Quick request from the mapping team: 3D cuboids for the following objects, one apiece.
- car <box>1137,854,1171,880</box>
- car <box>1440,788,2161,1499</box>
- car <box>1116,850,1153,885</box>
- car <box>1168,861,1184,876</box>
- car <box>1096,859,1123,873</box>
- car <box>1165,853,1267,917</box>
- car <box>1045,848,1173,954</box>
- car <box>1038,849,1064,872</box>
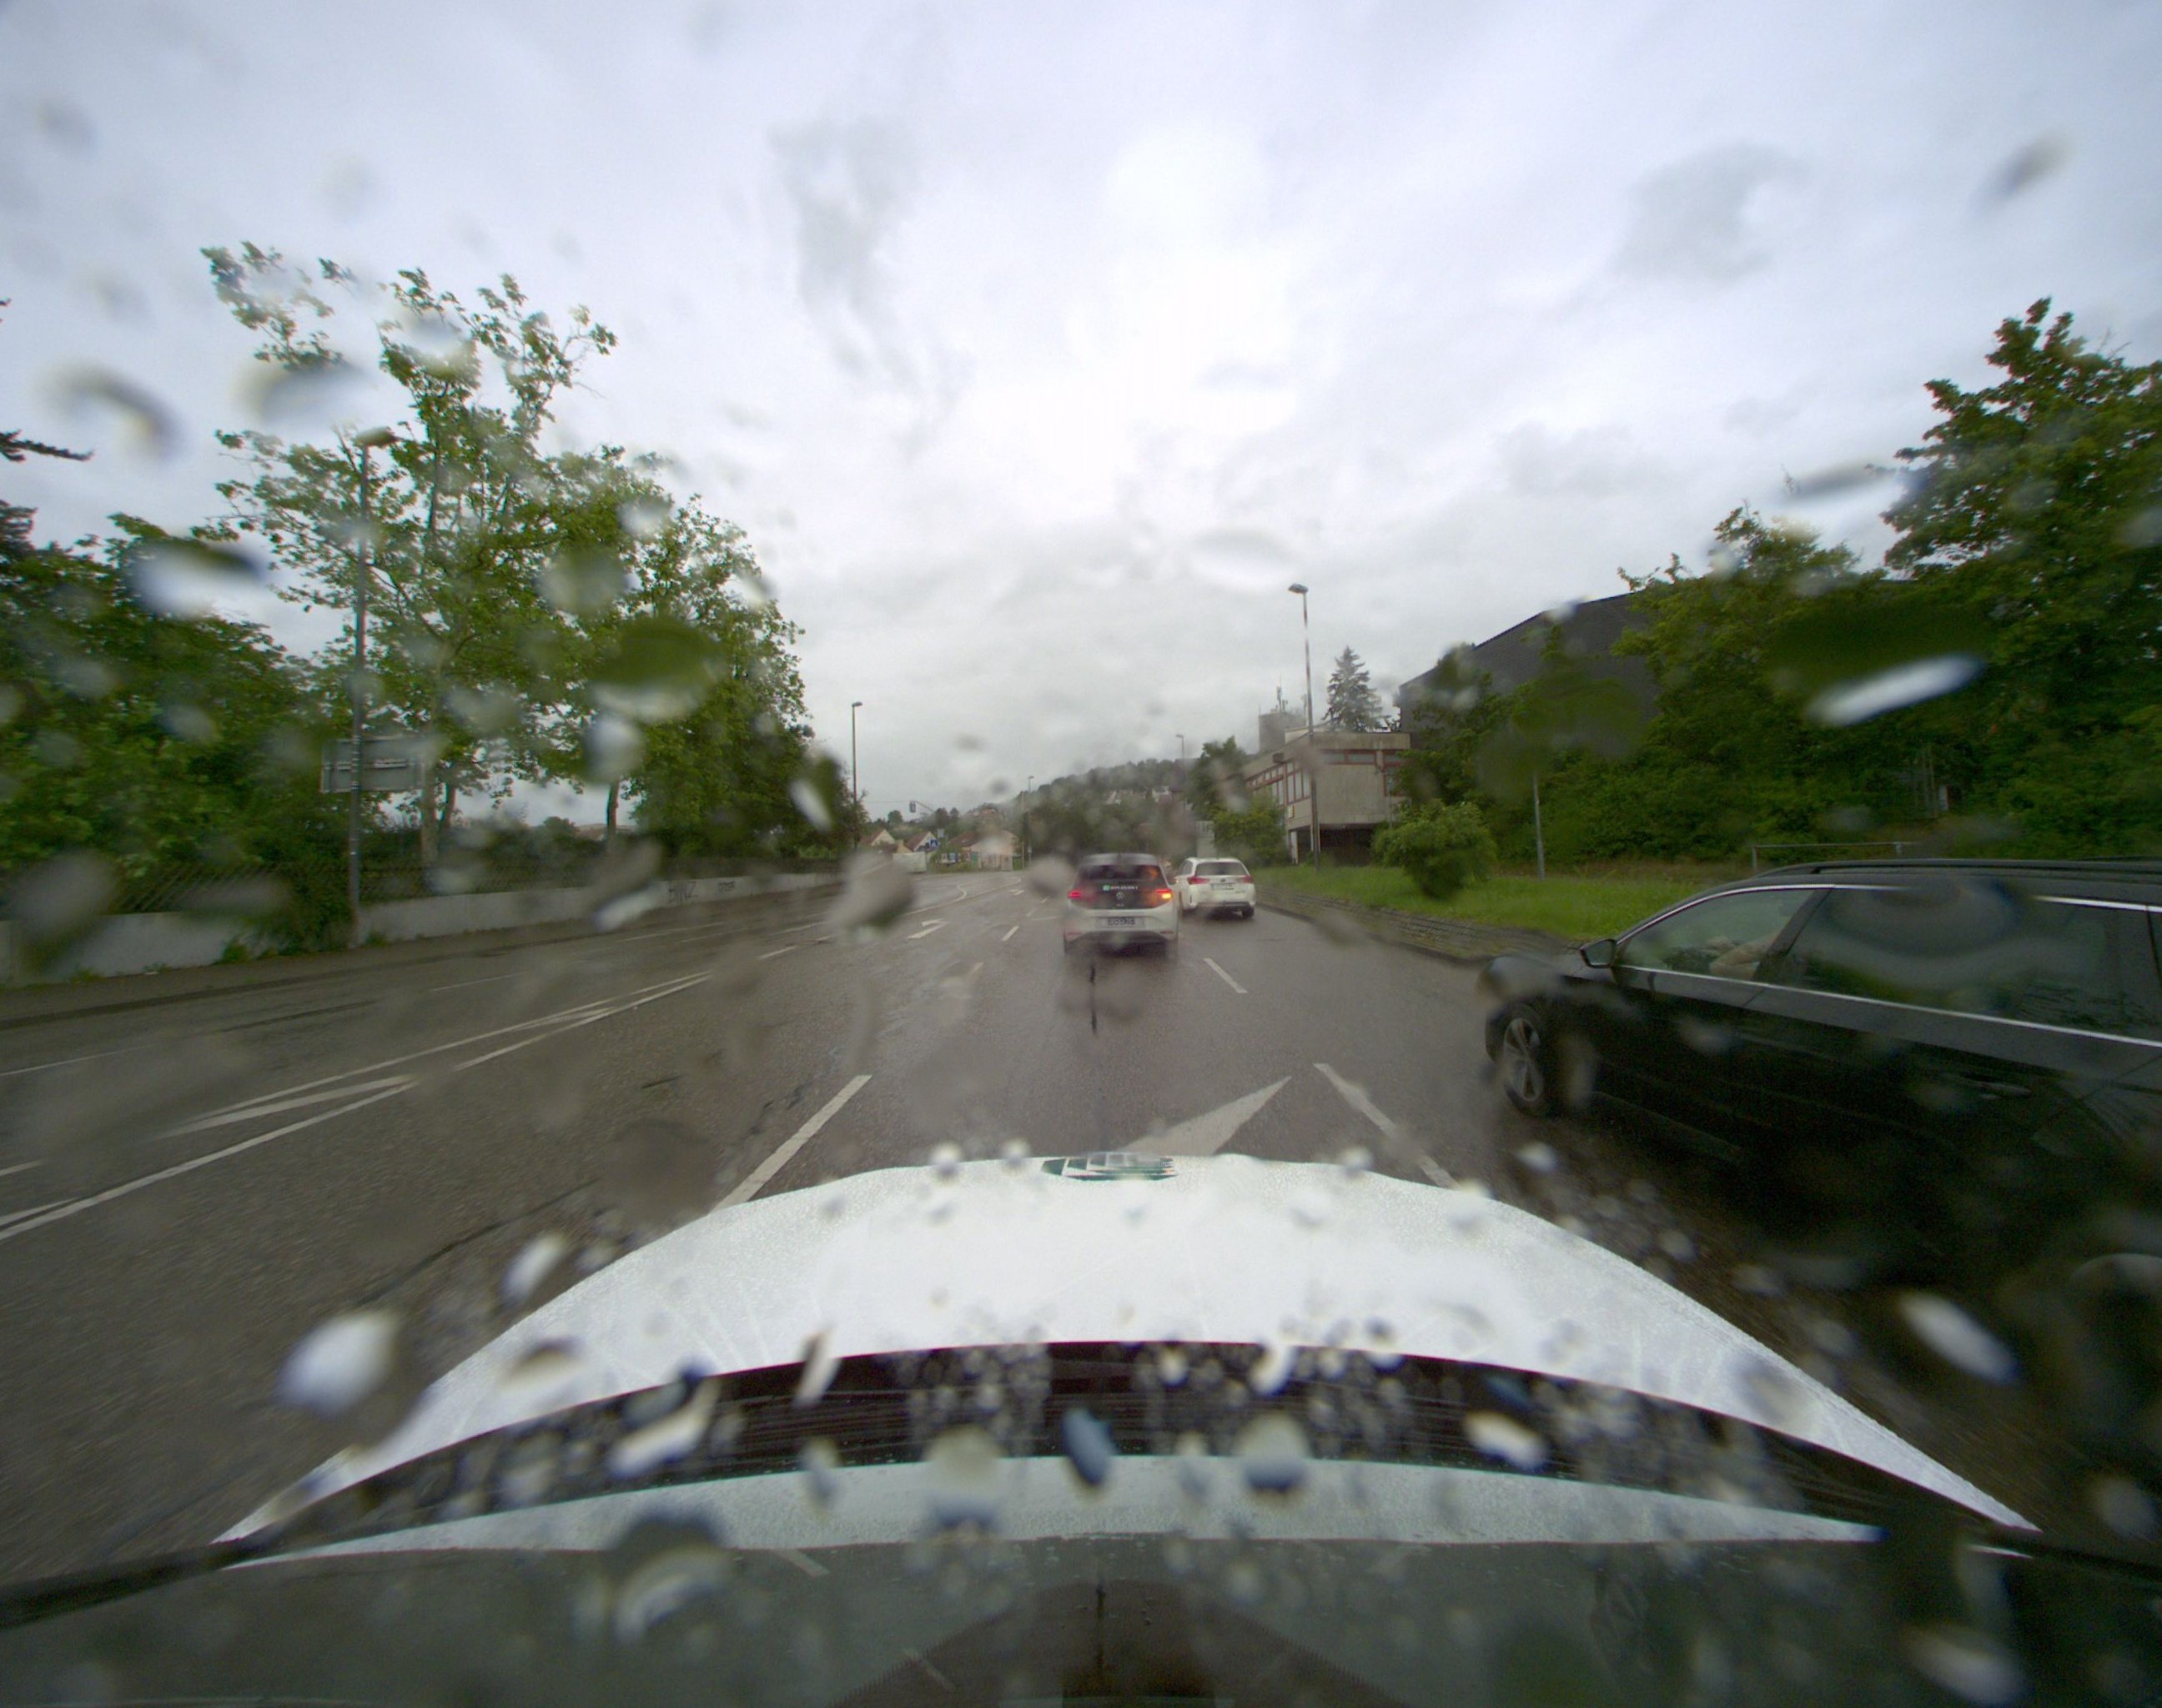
[{"bbox_3d":[4.715,0.841,52.698,1.984,1.453,3.775,-4,-1,4],"label":"car"},{"bbox_3d":[3.310,0.651,3.103,1.947,1.507,4.609,1,-1,1],"label":"car"},{"bbox_3d":[2.457,0.592,38.184,1.561,1.530,4.002,-1,0,2],"label":"car"},{"bbox_3d":[12.844,1.938,109.984,1.984,2.014,4.005,0,-1,4],"label":"car"},{"bbox_3d":[3.546,1.479,100.360,1.977,1.693,4.728,-1,-1,20],"label":"car"},{"bbox_3d":[3.261,0.729,20.476,1.842,1.410,4.300,-1,-1,0],"label":"car"},{"bbox_3d":[0.569,0.720,13.833,1.820,1.500,4.173,-1,-1,5],"label":"car"},{"bbox_3d":[-2.637,0.636,72.611,1.985,2.014,4.002,0,-1,2],"label":"car"}]
